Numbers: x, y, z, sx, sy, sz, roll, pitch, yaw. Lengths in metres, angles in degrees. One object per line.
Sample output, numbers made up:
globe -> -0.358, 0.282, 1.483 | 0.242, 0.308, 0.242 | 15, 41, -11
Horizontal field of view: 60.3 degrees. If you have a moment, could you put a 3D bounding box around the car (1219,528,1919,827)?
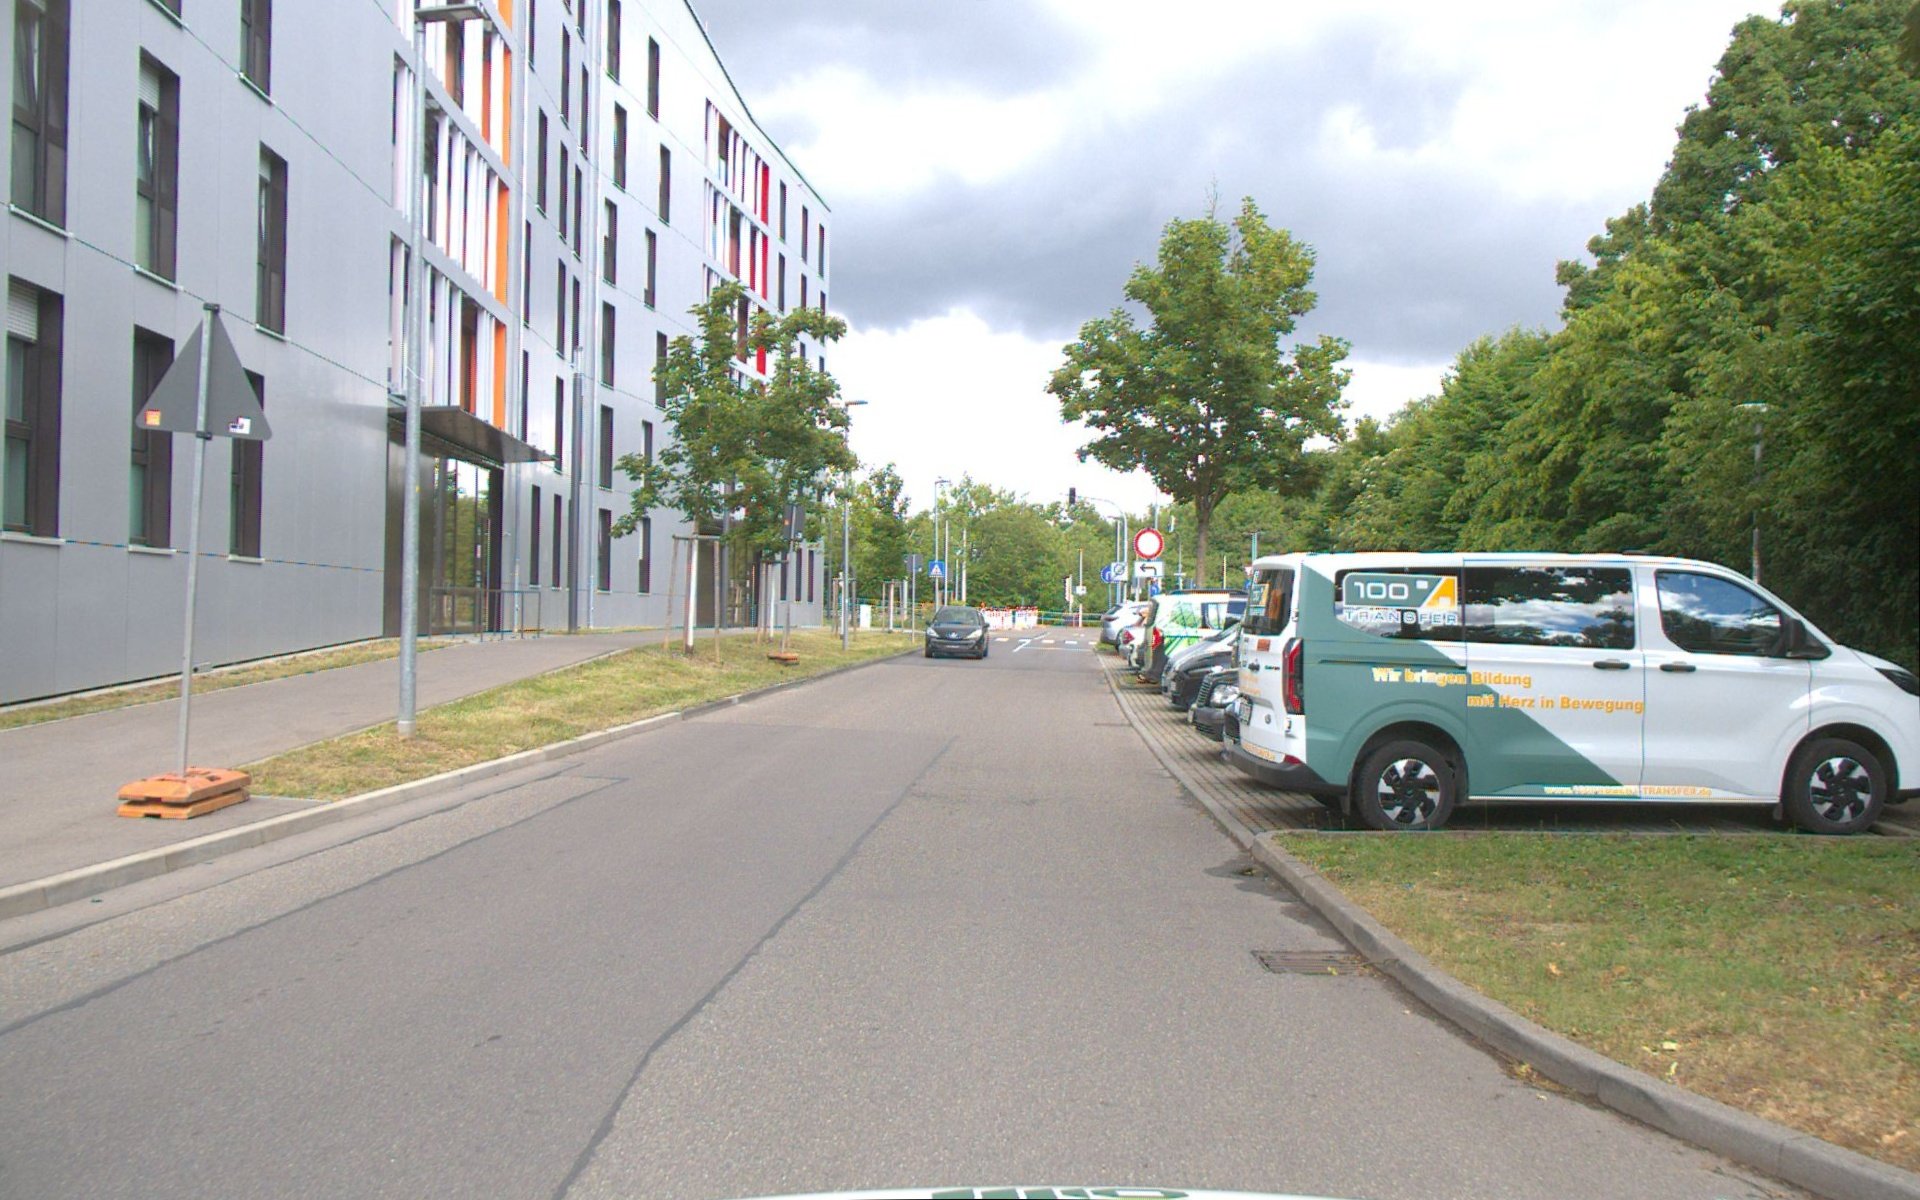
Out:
car -> 4.515, 0.518, 12.251 | 4.872, 2.007, 1.846 | 0, 0, -2

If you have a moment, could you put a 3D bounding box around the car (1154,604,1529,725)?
car -> 5.112, 0.841, 22.637 | 4.629, 1.525, 2.111 | 0, 0, -1

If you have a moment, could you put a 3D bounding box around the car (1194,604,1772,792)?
car -> 4.507, 0.830, 14.800 | 4.606, 1.543, 1.847 | 0, 0, 2

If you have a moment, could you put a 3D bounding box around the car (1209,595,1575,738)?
car -> 5.137, 0.771, 20.079 | 3.981, 1.637, 1.892 | 0, 0, 2

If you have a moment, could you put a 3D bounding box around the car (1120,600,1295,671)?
car -> 6.430, 0.912, 43.281 | 4.288, 1.646, 1.917 | 2, 0, 2

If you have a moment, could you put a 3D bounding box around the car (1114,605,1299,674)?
car -> 6.010, 0.951, 40.738 | 4.288, 1.500, 1.917 | 2, 0, 2

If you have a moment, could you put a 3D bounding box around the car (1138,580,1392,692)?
car -> 5.454, 0.628, 30.015 | 4.288, 1.937, 1.917 | 0, 0, 2

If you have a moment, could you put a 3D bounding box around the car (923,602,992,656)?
car -> -0.022, 0.792, 47.016 | 1.575, 1.412, 4.002 | 2, 0, 5

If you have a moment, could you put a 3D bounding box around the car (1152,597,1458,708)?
car -> 5.161, 0.770, 25.182 | 4.288, 1.604, 1.917 | 0, 0, 2

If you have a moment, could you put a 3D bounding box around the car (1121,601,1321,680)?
car -> 5.936, 0.923, 37.949 | 4.288, 1.601, 1.917 | 2, -1, 2

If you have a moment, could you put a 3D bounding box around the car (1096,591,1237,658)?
car -> 6.572, 0.764, 53.017 | 4.288, 1.937, 1.917 | 2, 0, 2

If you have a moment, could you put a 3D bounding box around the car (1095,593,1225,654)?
car -> 6.890, 0.792, 57.378 | 4.288, 1.937, 1.917 | 2, 0, 2

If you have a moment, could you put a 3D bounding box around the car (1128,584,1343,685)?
car -> 5.849, 0.721, 35.551 | 4.288, 1.937, 1.937 | 2, 0, 2

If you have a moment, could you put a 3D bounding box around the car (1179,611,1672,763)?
car -> 4.703, 0.865, 17.306 | 4.625, 1.459, 2.057 | 0, 0, 3
